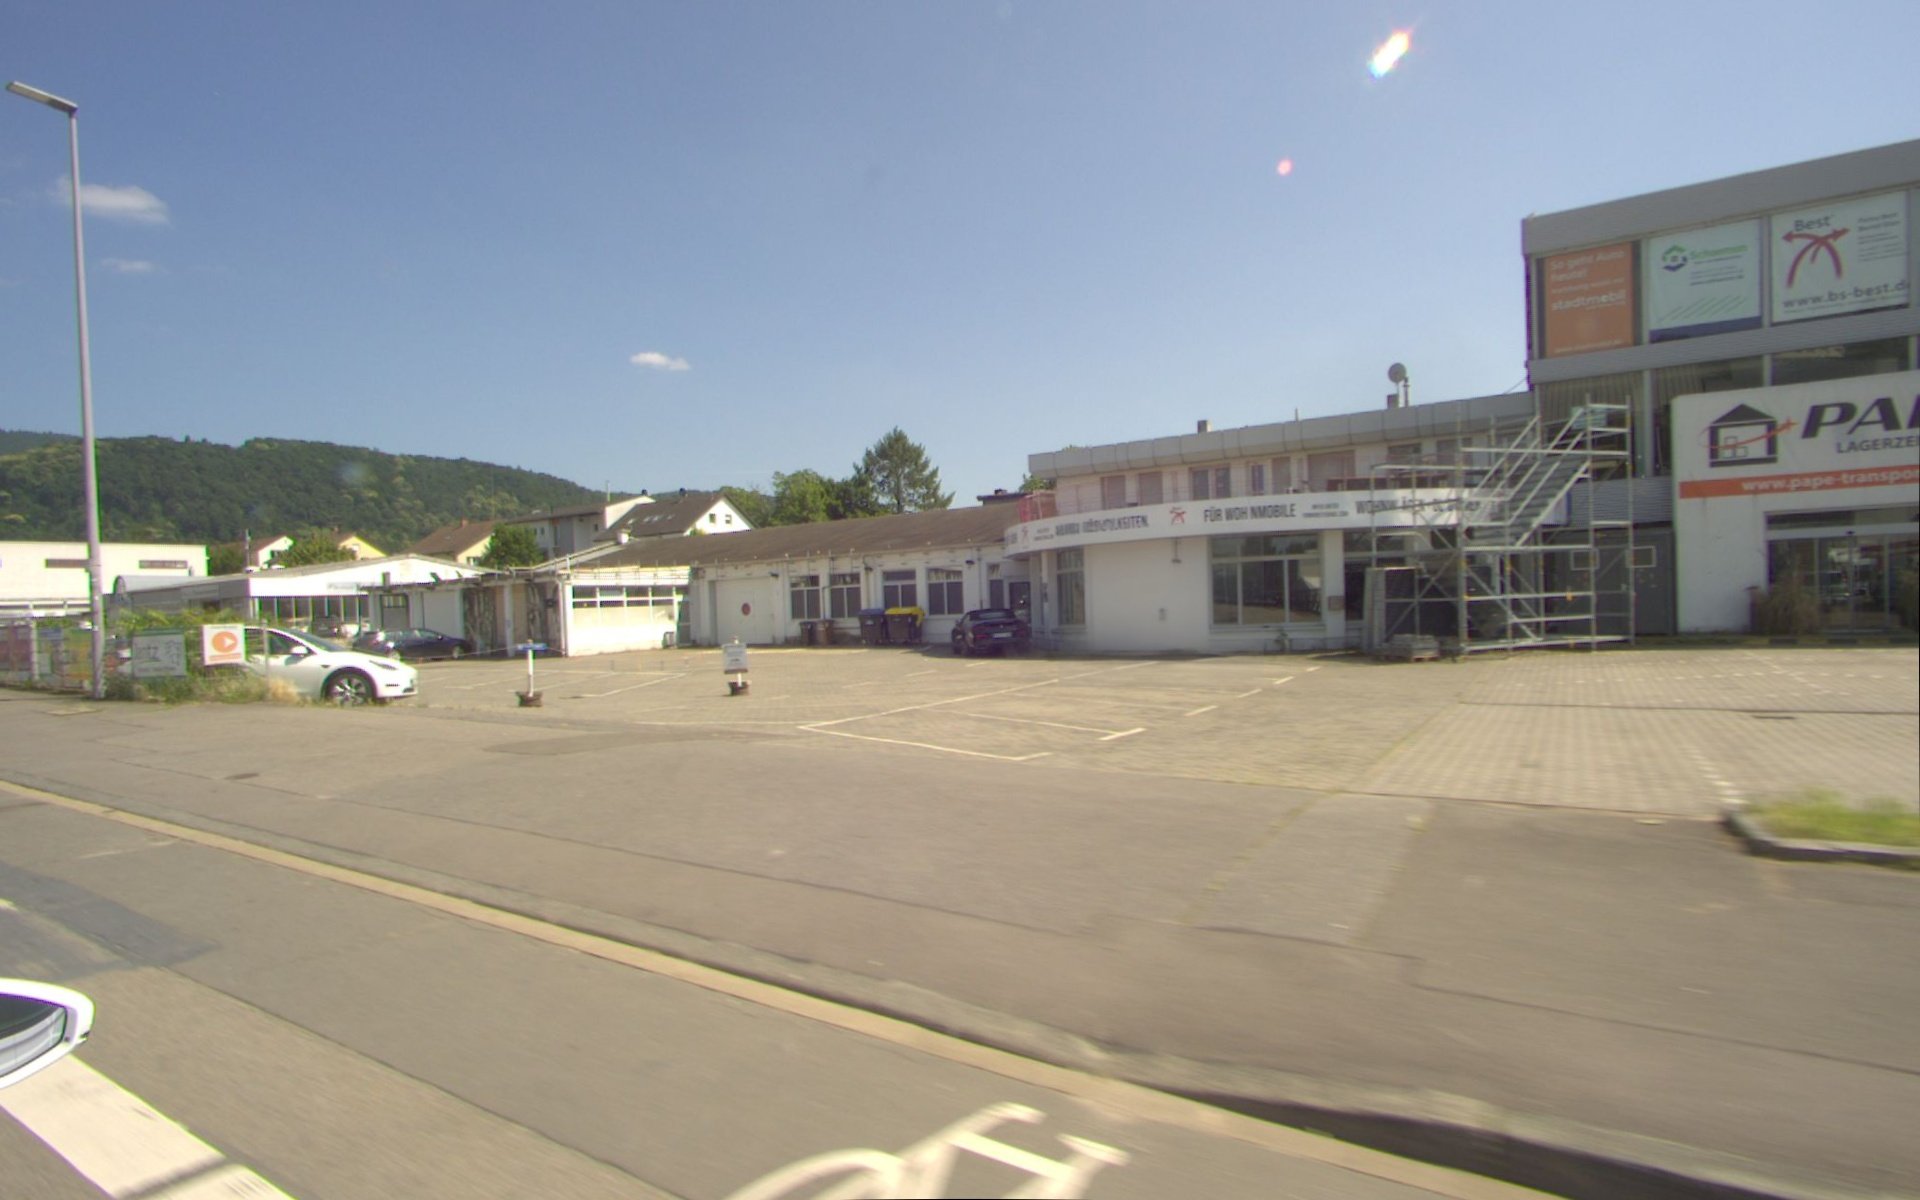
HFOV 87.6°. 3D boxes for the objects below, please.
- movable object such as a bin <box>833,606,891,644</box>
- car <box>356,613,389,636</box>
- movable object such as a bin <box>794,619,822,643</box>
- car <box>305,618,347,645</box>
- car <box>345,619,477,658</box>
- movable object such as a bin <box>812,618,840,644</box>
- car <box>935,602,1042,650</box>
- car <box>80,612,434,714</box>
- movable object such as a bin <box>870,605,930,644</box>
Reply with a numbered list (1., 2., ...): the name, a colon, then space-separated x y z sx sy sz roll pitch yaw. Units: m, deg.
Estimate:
1. movable object such as a bin: -3.921 1.010 40.260 1.728 1.475 1.569 -1 0 28
2. car: -39.742 1.682 67.842 1.768 1.482 3.808 0 -2 -28
3. movable object such as a bin: -6.446 1.321 42.470 0.863 1.005 0.745 -1 0 28
4. car: -41.122 2.006 65.022 1.970 1.669 3.981 0 0 -28
5. car: -22.621 1.569 41.402 2.091 1.416 4.314 -1 0 36
6. movable object such as a bin: -5.608 1.308 41.973 0.863 1.050 0.745 -1 0 28
7. car: 0.745 0.792 29.732 1.861 1.306 4.549 0 -2 -16
8. car: -12.769 1.166 18.605 4.956 1.640 2.024 -1 -5 -15
9. movable object such as a bin: -2.345 0.940 39.380 1.797 1.475 1.569 -1 0 28
